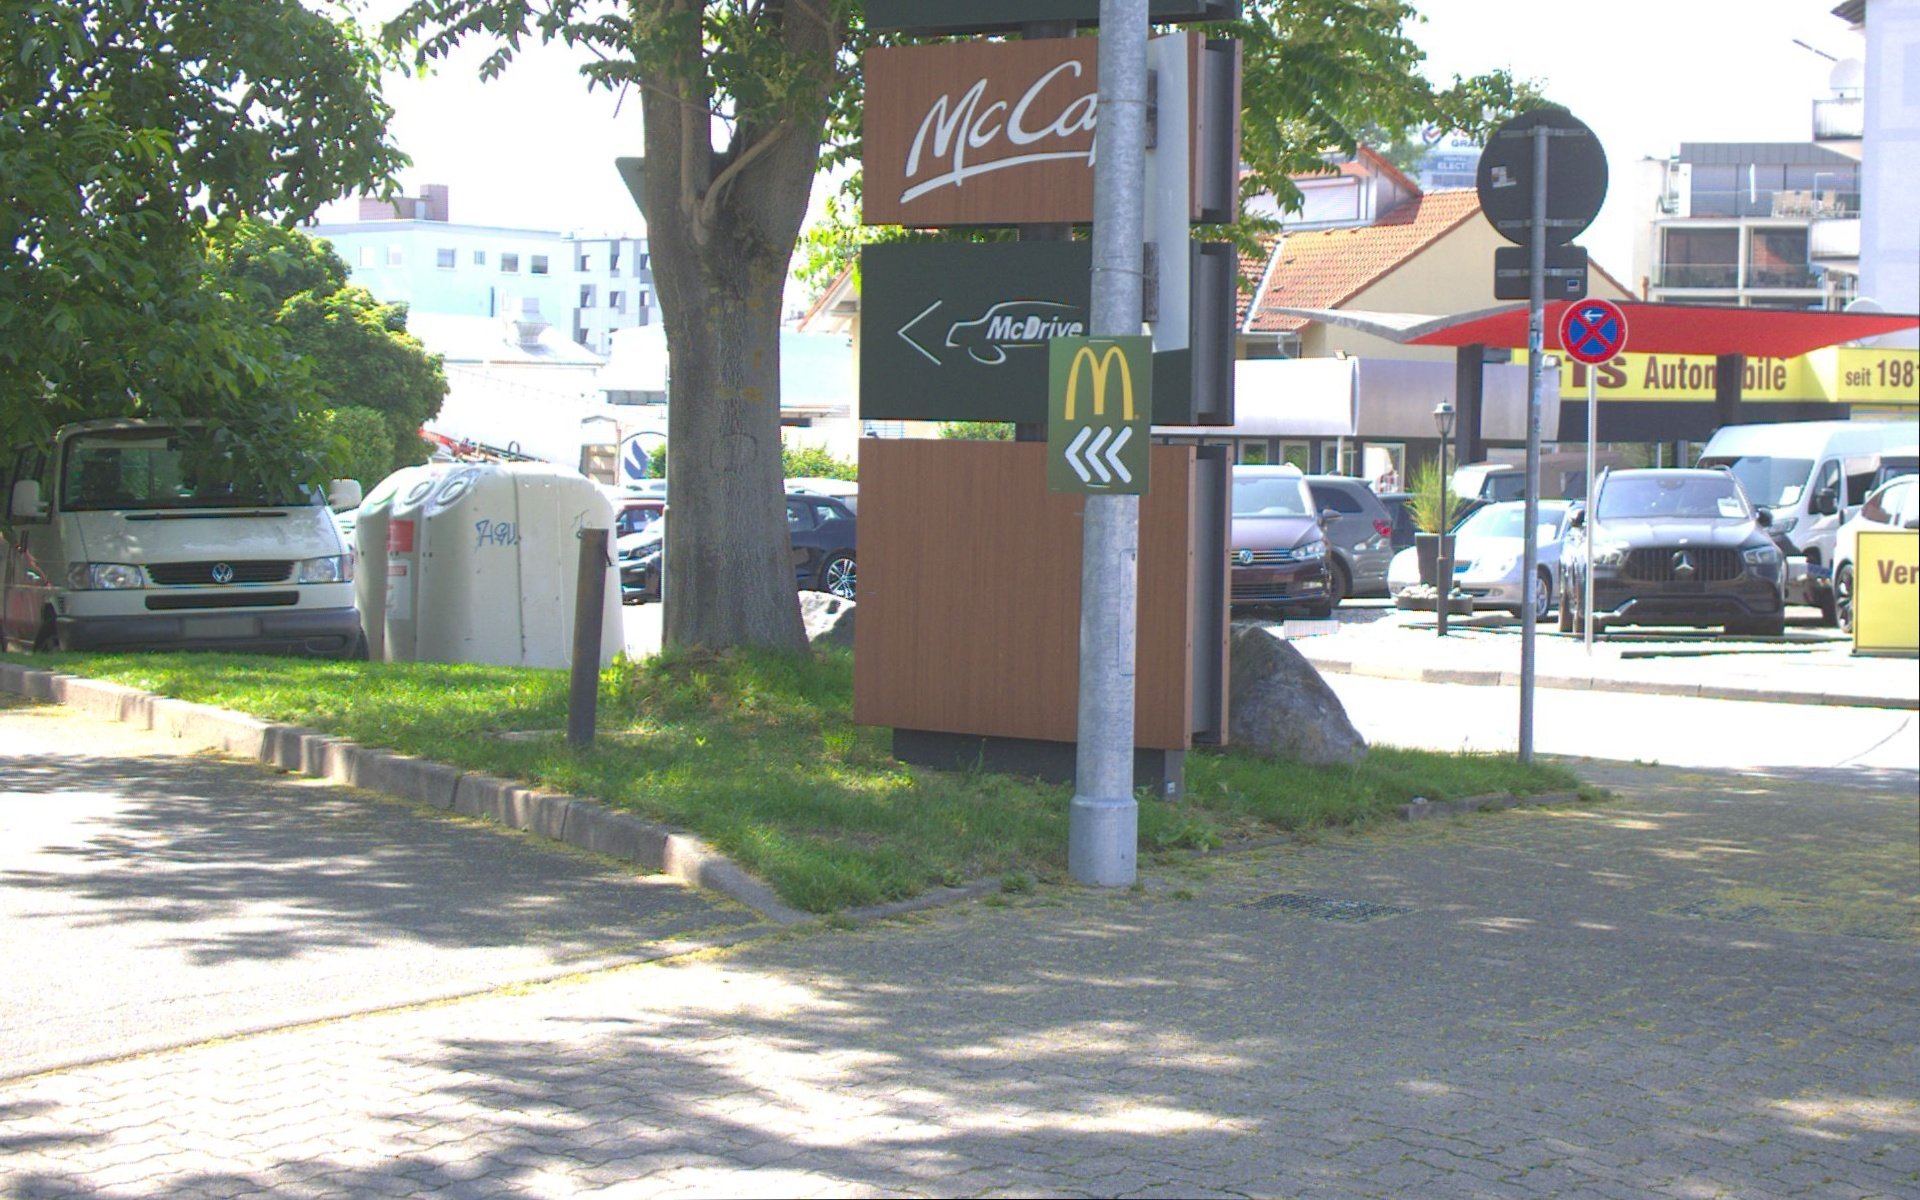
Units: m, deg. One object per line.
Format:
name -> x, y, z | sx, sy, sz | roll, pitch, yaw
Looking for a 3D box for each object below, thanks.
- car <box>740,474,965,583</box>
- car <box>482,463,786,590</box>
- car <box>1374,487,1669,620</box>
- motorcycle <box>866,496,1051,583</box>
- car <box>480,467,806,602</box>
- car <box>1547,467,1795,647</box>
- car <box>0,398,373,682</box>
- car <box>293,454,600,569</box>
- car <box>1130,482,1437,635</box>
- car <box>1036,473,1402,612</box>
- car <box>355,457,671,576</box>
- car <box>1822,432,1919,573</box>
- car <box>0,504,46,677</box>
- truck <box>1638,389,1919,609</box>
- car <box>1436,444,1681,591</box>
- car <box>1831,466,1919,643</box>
car -> -1.782, -1.176, 55.516 | 1.993, 1.579, 4.001 | 1, 2, -28
car -> -4.840, -1.089, 51.205 | 3.988, 1.719, 2.000 | 1, 2, -38
car -> 6.925, -0.562, 42.145 | 1.792, 1.482, 3.991 | 4, 3, 39
motorcycle -> -0.014, -0.906, 52.018 | 2.710, 1.222, 0.999 | 1, 2, -38
car -> -4.413, -0.907, 47.890 | 3.987, 1.700, 2.000 | 1, 2, -31
car -> 7.014, -0.467, 34.313 | 2.047, 1.589, 4.422 | 3, 2, 8
car -> -5.268, -0.478, 22.522 | 1.951, 1.577, 5.033 | 2, 3, -19
car -> -8.571, -1.473, 57.606 | 4.640, 1.719, 2.000 | 1, 2, -37
car -> 3.569, -0.462, 37.320 | 1.791, 1.504, 3.993 | 3, 2, 29
car -> 3.283, -0.754, 44.132 | 4.320, 1.579, 2.001 | 2, 2, -7
car -> -7.203, -1.345, 55.604 | 4.640, 1.719, 2.000 | 1, 2, -37
car -> 13.143, -1.267, 45.643 | 1.881, 1.732, 4.714 | 4, 3, 32
car -> -9.558, -0.080, 28.797 | 3.403, 1.374, 1.487 | -1, 5, -29
truck -> 12.014, -1.445, 49.334 | 2.273, 2.893, 5.932 | 4, 3, 33
car -> 8.854, -1.195, 50.557 | 1.997, 2.006, 4.488 | 4, 2, 31
car -> 10.327, -0.433, 34.215 | 1.993, 1.719, 4.001 | 2, 2, -4
